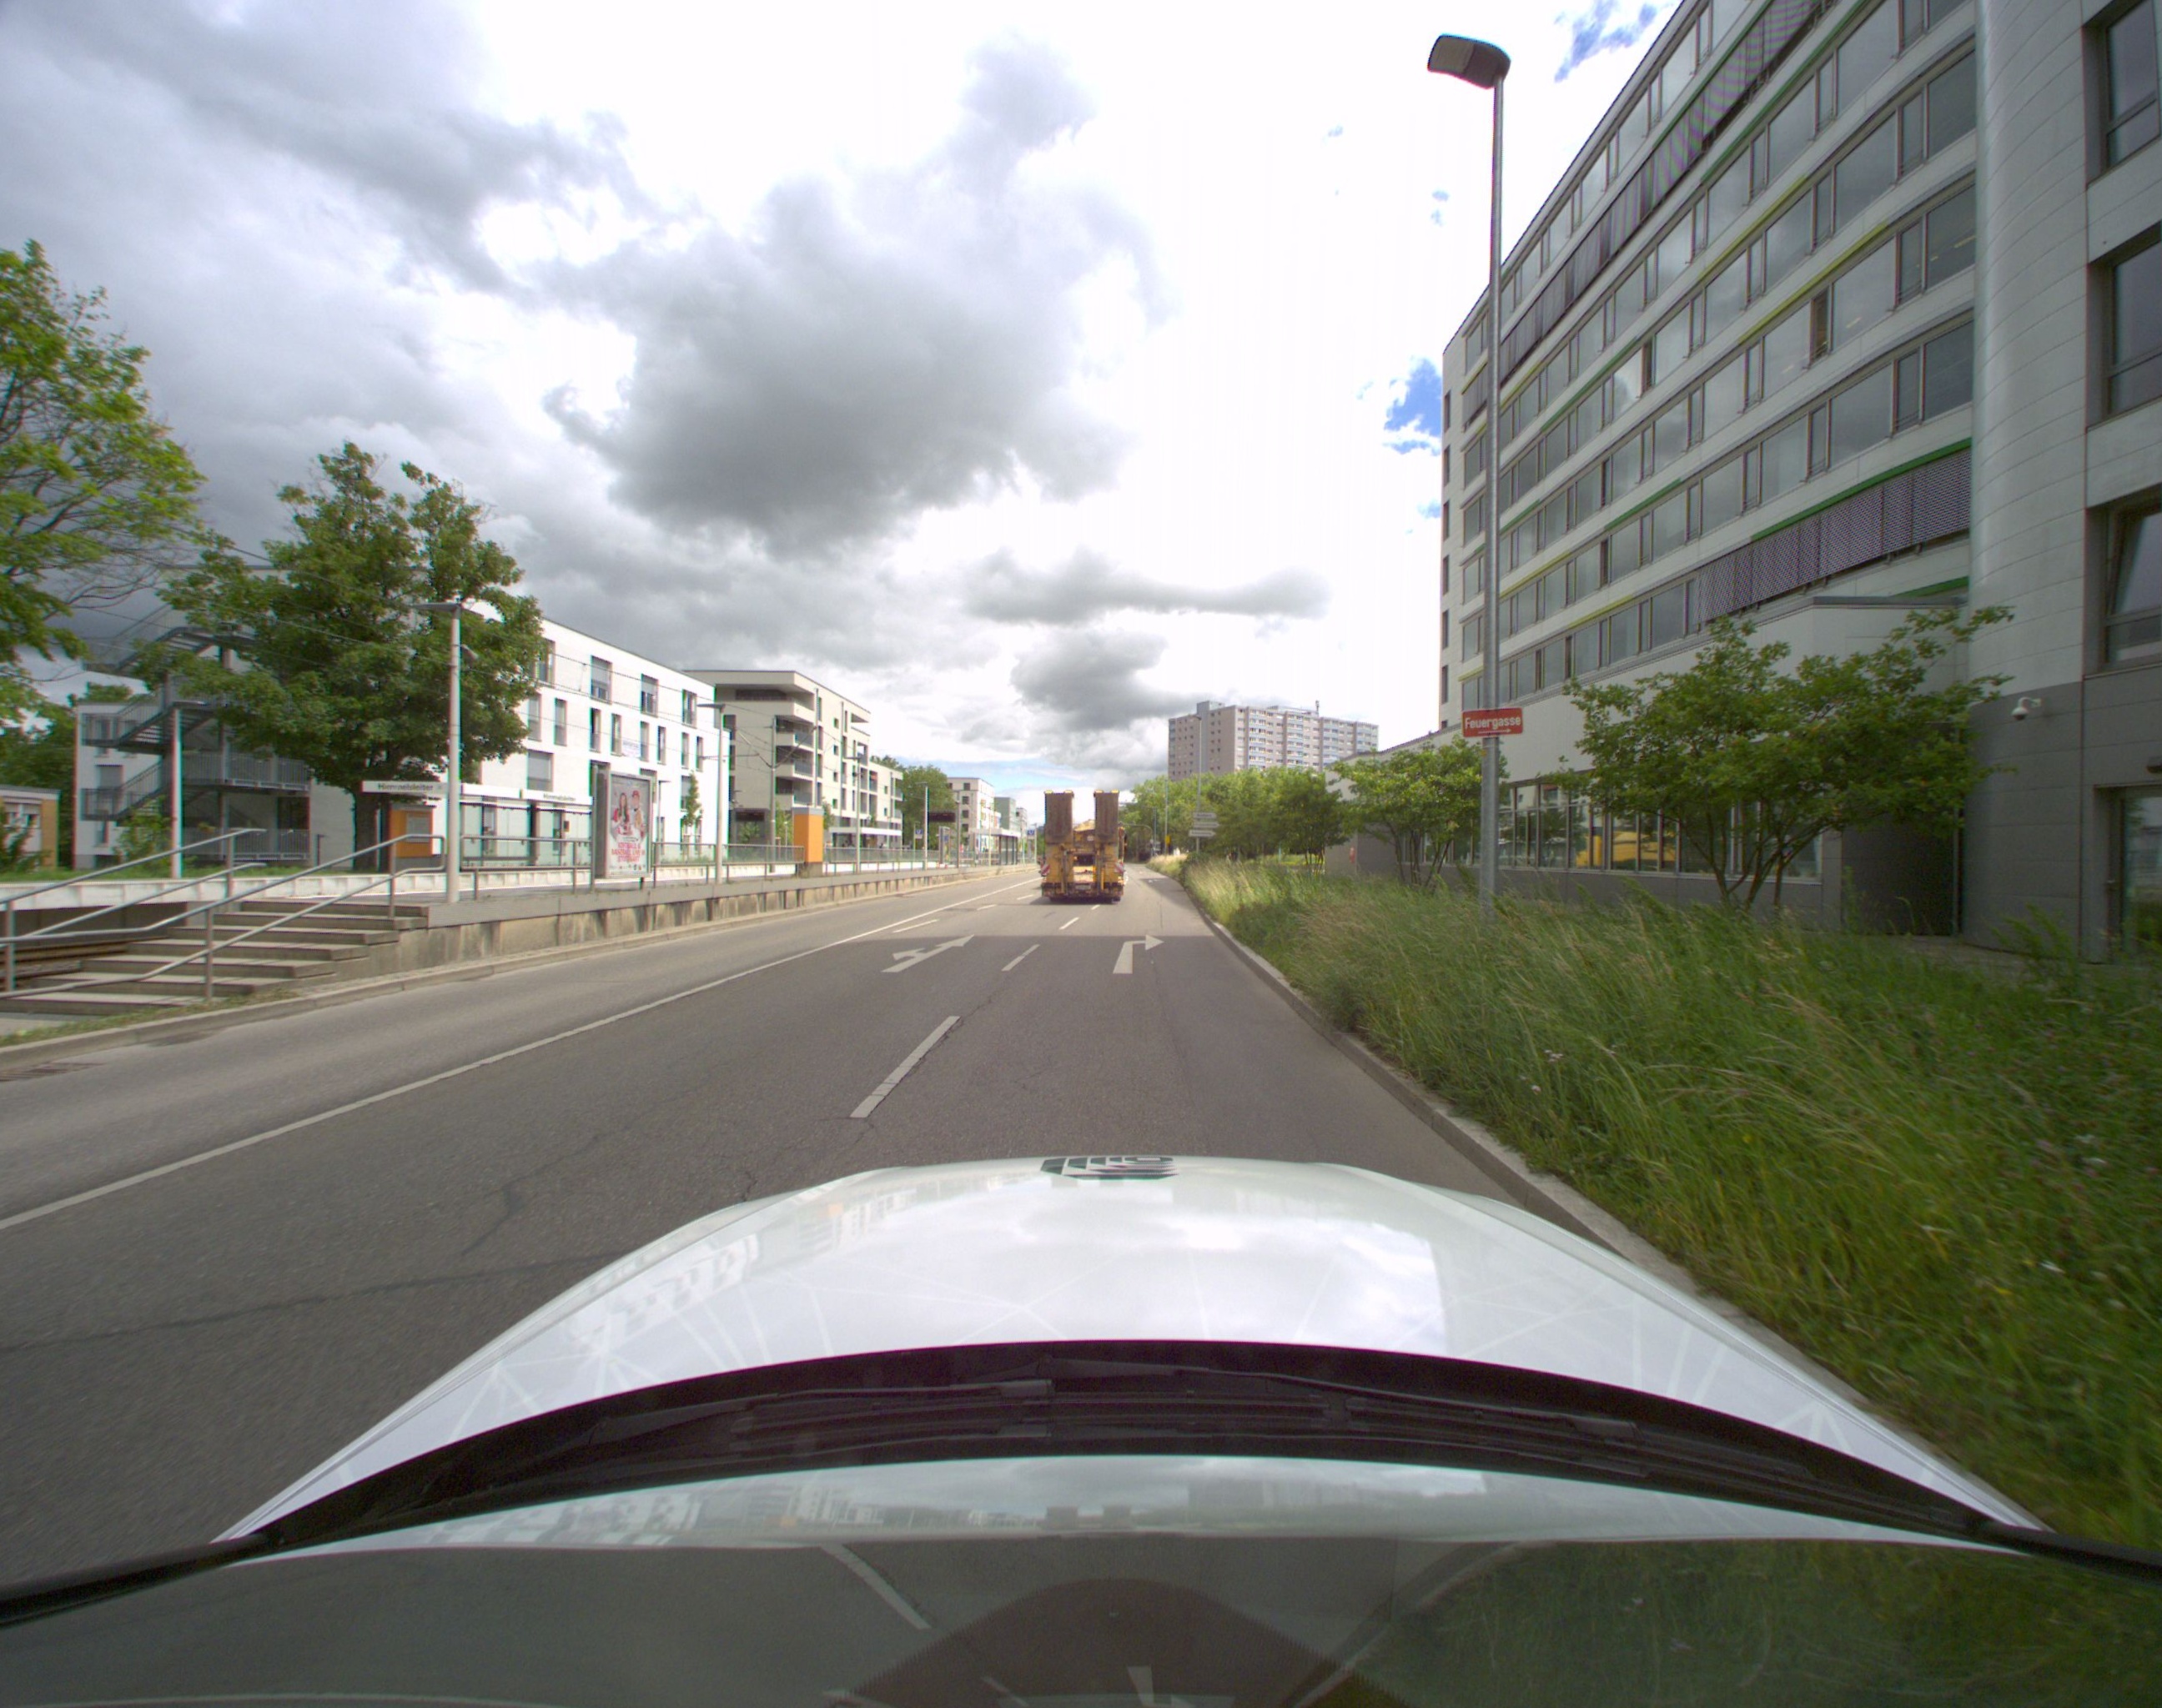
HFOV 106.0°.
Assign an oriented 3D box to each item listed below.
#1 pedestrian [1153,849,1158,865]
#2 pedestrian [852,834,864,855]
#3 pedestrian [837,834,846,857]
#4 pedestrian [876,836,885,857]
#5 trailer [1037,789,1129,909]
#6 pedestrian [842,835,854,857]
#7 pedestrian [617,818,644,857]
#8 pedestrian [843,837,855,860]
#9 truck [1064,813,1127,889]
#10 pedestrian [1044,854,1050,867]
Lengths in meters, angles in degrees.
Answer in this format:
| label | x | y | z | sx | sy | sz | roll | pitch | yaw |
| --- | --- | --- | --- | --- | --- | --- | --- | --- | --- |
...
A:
| label | x | y | z | sx | sy | sz | roll | pitch | yaw |
| --- | --- | --- | --- | --- | --- | --- | --- | --- | --- |
| pedestrian | 9.745 | 0.391 | 106.882 | 0.560 | 2.014 | 0.490 | 1 | -1 | -7 |
| pedestrian | -16.857 | -0.727 | 61.647 | 0.482 | 1.596 | 0.682 | 1 | 0 | 37 |
| pedestrian | -17.921 | -0.657 | 60.941 | 0.490 | 1.725 | 0.671 | 1 | 0 | -32 |
| pedestrian | -17.262 | -0.622 | 70.080 | 0.559 | 1.766 | 0.678 | 1 | 0 | 4 |
| trailer | 0.330 | -0.150 | 30.083 | 2.718 | 3.559 | 11.261 | 1 | 0 | 3 |
| pedestrian | -17.256 | -0.597 | 60.431 | 0.681 | 1.596 | 0.483 | 1 | 0 | -45 |
| pedestrian | -18.108 | -0.649 | 32.763 | 0.737 | 1.531 | 0.548 | 1 | 0 | 5 |
| pedestrian | -17.768 | -0.412 | 62.331 | 0.482 | 1.766 | 0.682 | 1 | 0 | 37 |
| truck | 0.823 | -0.142 | 39.868 | 2.742 | 3.313 | 8.357 | 1 | 0 | 3 |
| pedestrian | -4.298 | 0.798 | 104.346 | 0.679 | 1.603 | 0.823 | 1 | 0 | 2 |
